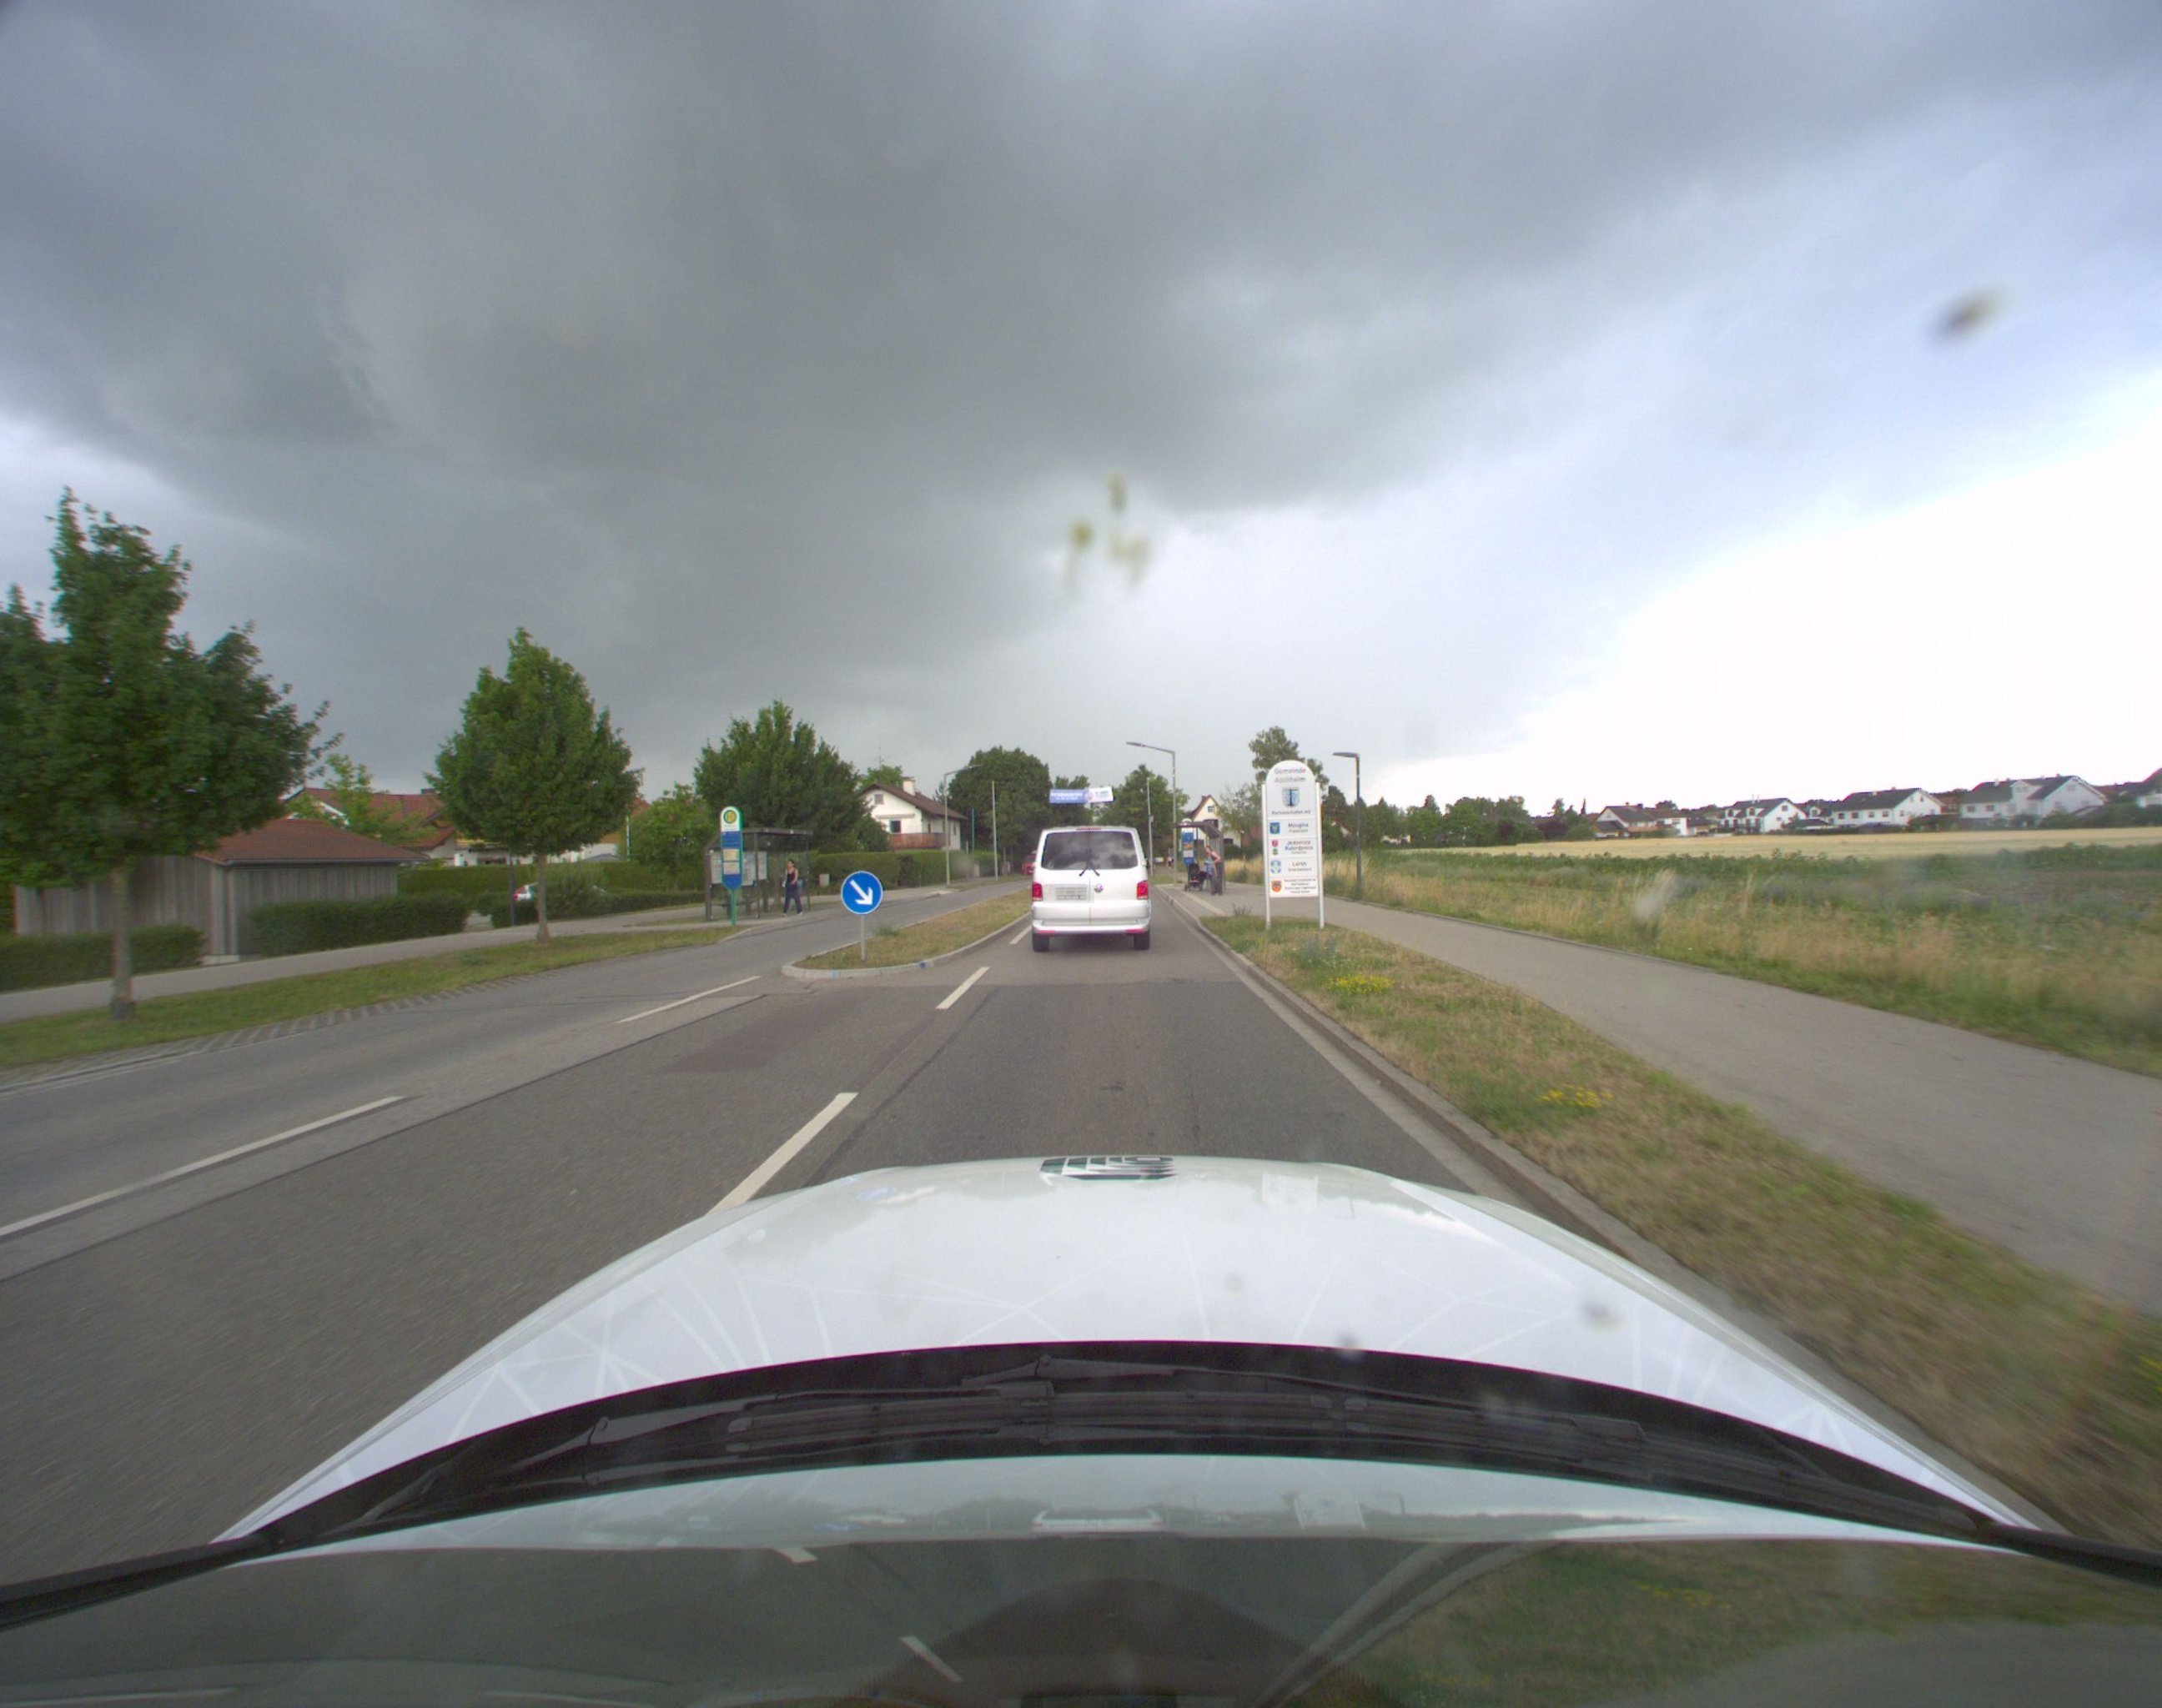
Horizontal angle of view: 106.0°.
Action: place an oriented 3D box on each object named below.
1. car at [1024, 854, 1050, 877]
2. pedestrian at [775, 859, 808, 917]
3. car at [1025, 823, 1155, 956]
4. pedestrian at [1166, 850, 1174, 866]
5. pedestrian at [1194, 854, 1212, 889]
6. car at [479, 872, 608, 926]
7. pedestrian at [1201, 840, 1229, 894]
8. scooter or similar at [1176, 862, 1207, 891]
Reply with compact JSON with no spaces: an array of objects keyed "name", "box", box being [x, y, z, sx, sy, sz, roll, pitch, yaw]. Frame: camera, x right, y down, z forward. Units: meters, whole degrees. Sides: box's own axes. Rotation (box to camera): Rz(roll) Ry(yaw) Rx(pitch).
[{"name":"car","box":[-3.897,1.004,72.745,1.822,2.030,5.050,0,0,3]},{"name":"pedestrian","box":[-8.318,0.960,23.447,0.586,1.636,0.813,-2,0,1]},{"name":"car","box":[0.192,0.543,13.987,1.881,1.912,4.001,-1,-1,2]},{"name":"pedestrian","box":[10.049,0.424,92.348,0.833,1.755,0.871,-1,-1,7]},{"name":"pedestrian","box":[4.604,0.666,30.777,0.660,1.302,0.506,0,-1,11]},{"name":"car","box":[-22.316,1.829,33.934,3.974,2.013,2.000,-2,0,0]},{"name":"pedestrian","box":[4.471,0.428,27.144,0.774,1.792,0.783,0,-1,23]},{"name":"scooter or similar","box":[4.106,0.816,30.254,0.699,1.062,1.067,-1,-1,39]}]
